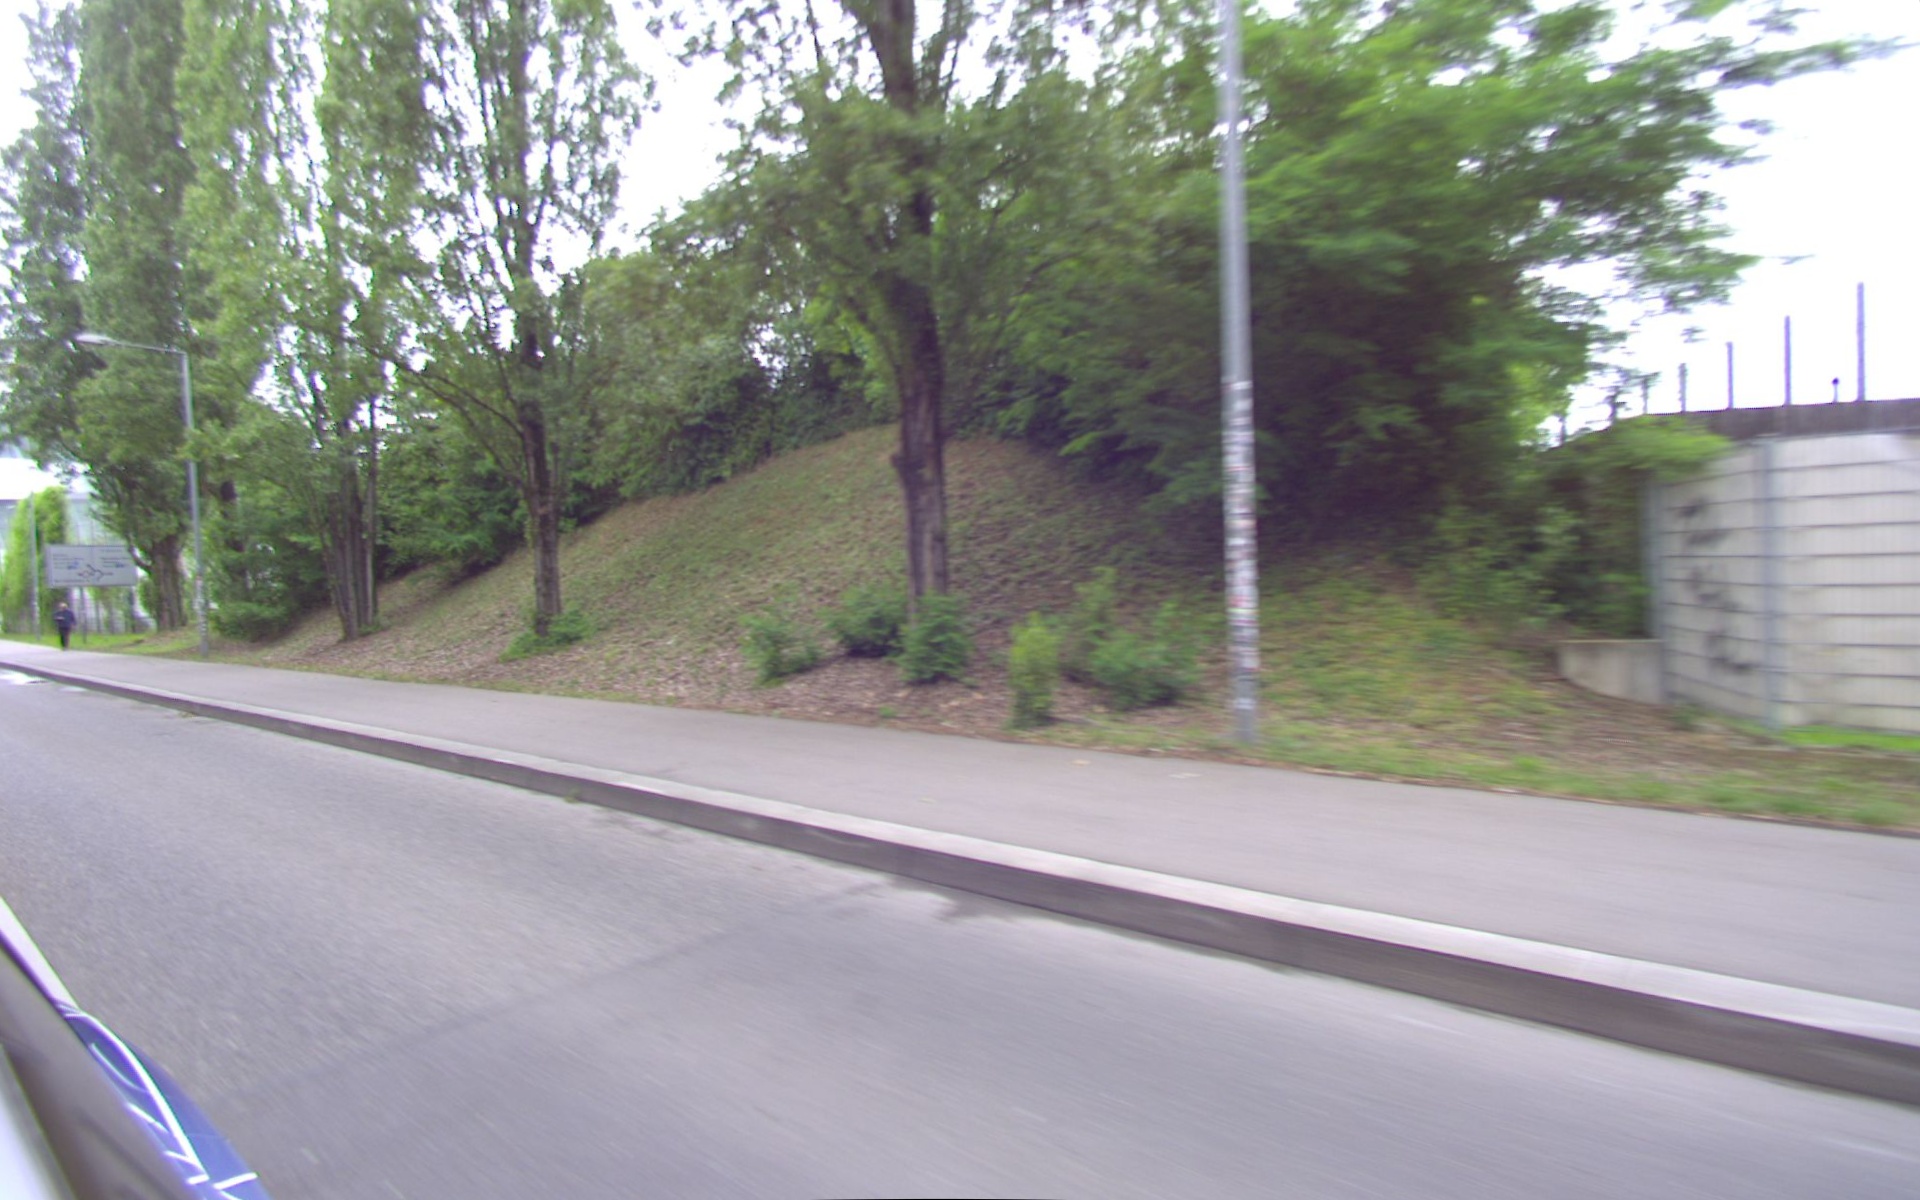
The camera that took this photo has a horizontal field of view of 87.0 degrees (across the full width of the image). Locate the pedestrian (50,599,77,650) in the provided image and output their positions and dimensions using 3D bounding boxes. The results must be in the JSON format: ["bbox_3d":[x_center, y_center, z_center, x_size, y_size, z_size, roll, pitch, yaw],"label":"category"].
[{"bbox_3d":[-34.151,0.910,38.552,0.736,1.908,0.654,0,0,40],"label":"pedestrian"}]
